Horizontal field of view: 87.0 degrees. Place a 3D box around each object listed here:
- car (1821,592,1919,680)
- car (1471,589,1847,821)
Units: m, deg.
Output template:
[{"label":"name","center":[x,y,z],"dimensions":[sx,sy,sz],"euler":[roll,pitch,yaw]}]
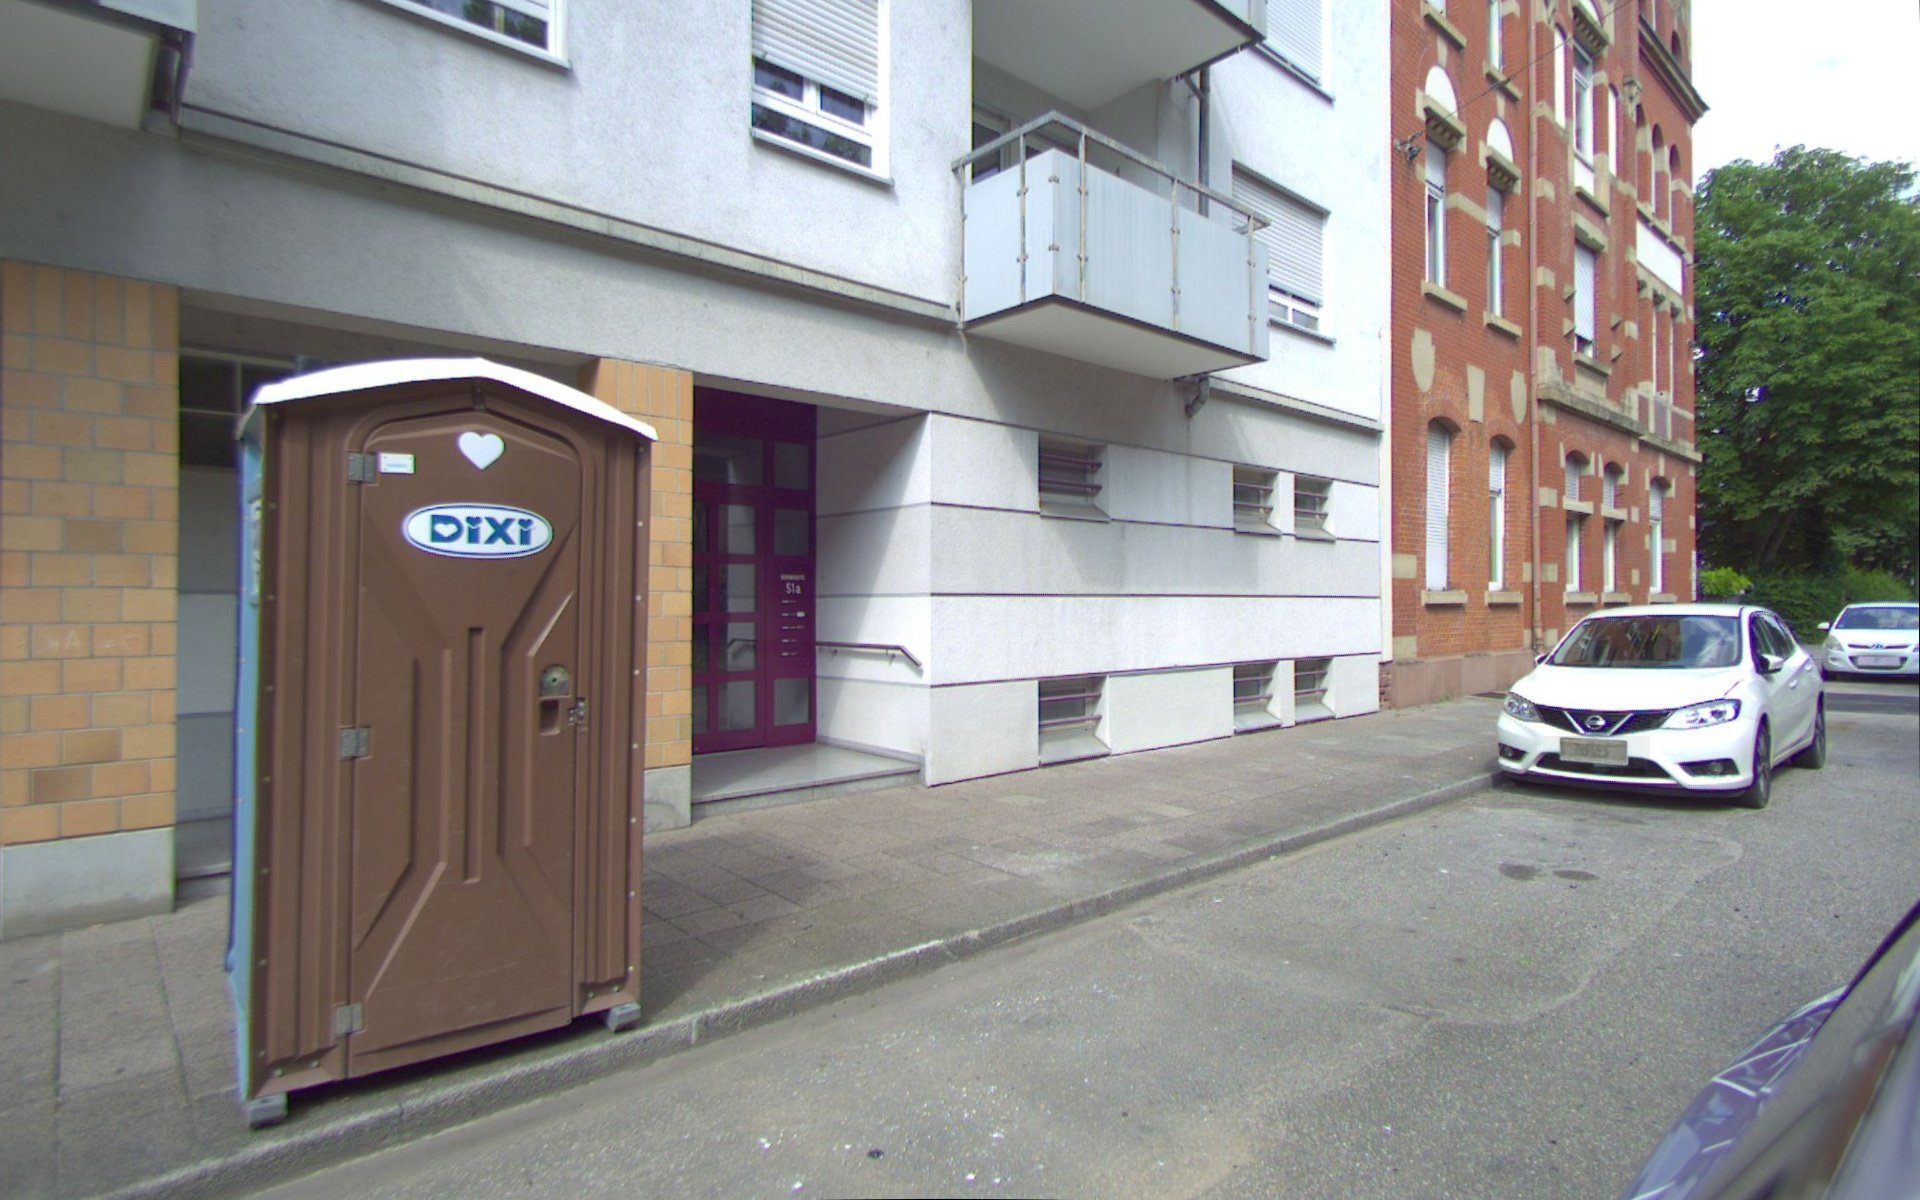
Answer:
[{"label":"car","center":[18.174,0.638,19.551],"dimensions":[3.971,1.549,1.799],"euler":[0,-1,-42]},{"label":"car","center":[6.195,0.712,8.797],"dimensions":[3.971,1.549,1.799],"euler":[0,-1,-42]}]
